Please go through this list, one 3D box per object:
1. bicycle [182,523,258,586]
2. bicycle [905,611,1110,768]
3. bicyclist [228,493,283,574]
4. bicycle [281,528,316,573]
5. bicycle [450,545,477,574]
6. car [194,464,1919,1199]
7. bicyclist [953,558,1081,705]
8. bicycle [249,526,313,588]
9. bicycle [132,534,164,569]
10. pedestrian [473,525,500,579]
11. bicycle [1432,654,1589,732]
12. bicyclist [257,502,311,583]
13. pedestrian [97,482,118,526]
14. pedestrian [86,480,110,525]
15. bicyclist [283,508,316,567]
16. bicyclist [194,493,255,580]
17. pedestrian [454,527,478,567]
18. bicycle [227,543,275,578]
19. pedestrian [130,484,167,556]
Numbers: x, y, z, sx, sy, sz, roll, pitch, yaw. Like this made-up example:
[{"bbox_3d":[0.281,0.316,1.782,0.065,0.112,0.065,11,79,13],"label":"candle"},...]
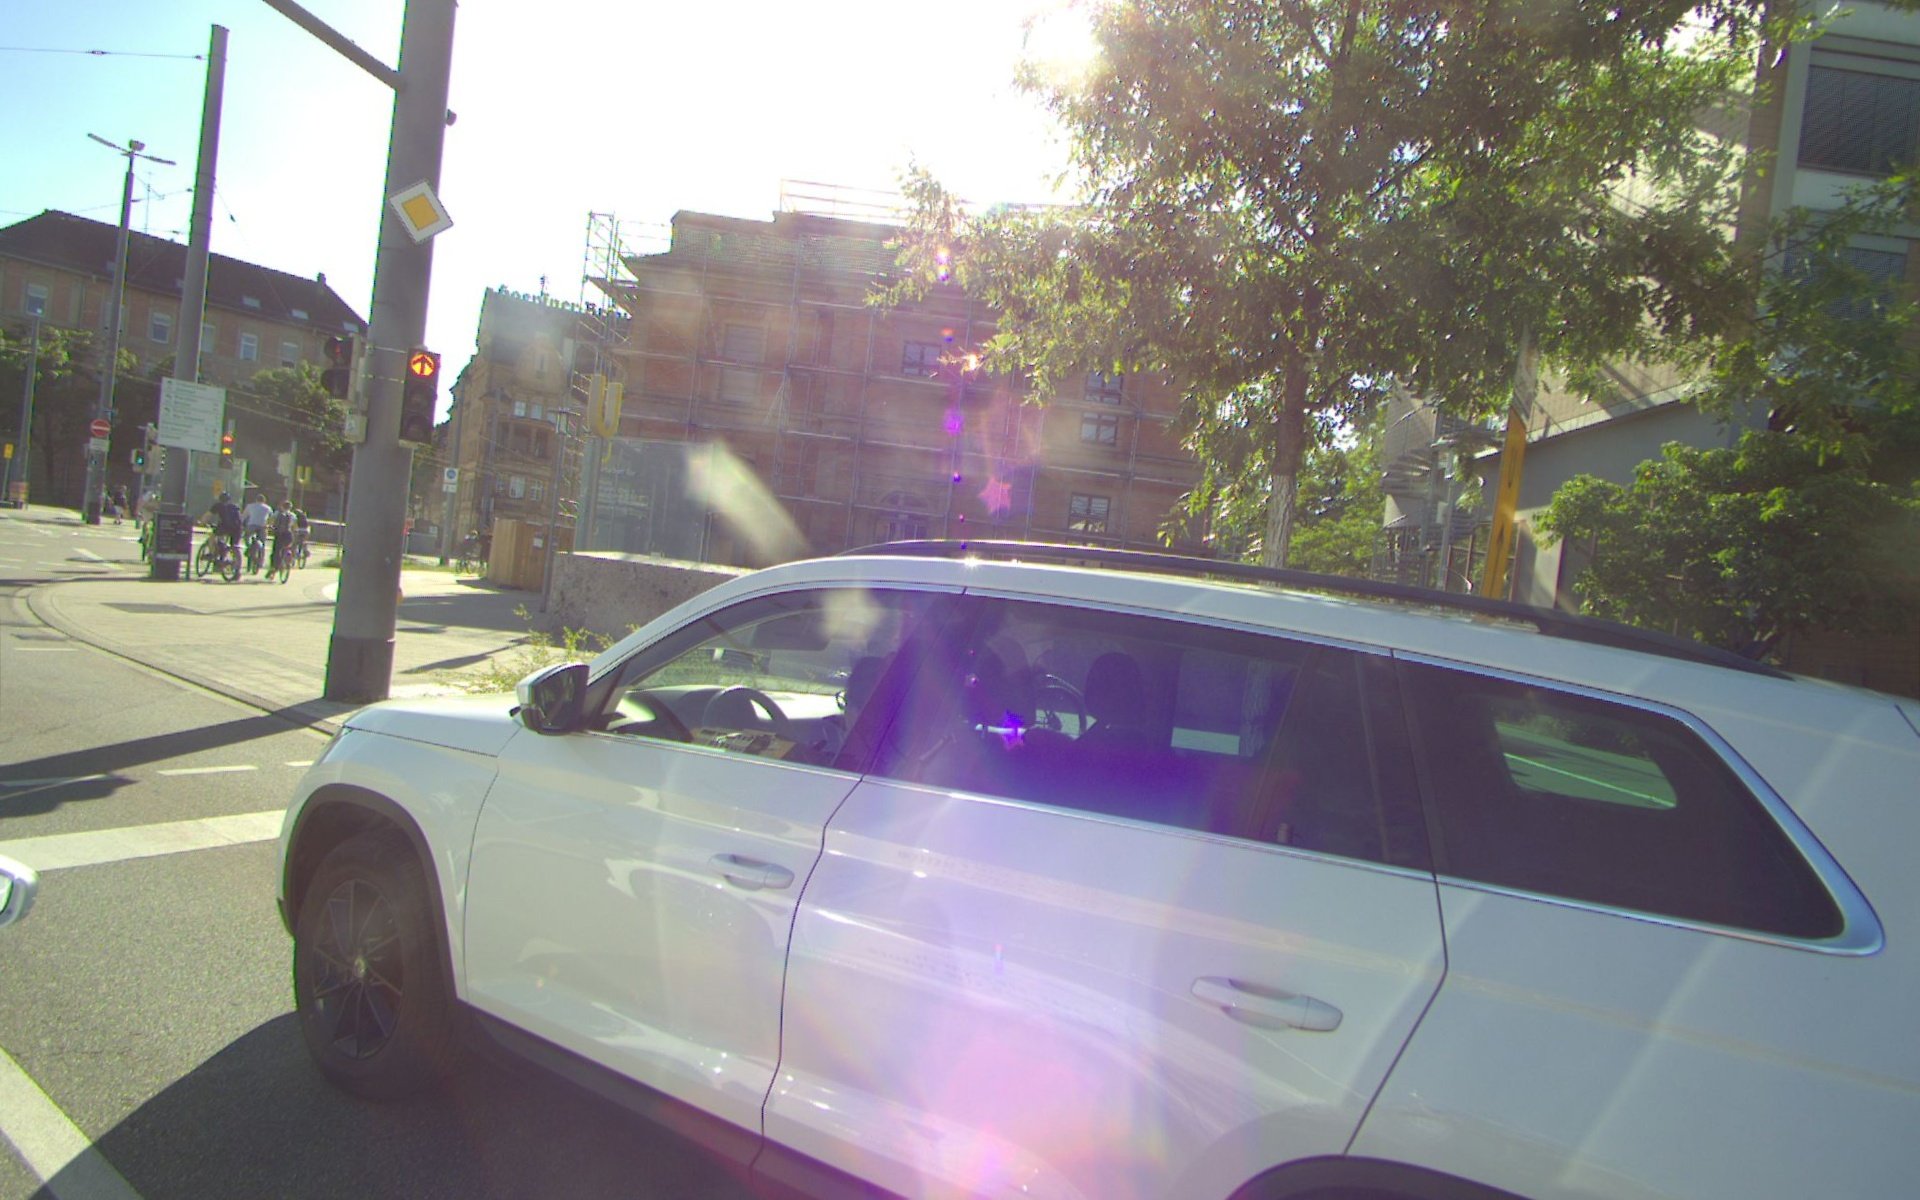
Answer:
[{"bbox_3d":[-15.239,-0.952,20.704,1.821,1.128,0.625,6,2,34],"label":"bicycle"},{"bbox_3d":[0.446,0.829,9.903,1.804,1.234,0.690,7,3,32],"label":"bicycle"},{"bbox_3d":[-16.627,-1.569,23.738,0.910,1.802,0.746,8,2,39],"label":"bicyclist"},{"bbox_3d":[-18.759,-1.419,28.528,0.569,1.139,1.721,6,1,-39],"label":"bicycle"},{"bbox_3d":[-18.828,-1.540,38.174,0.509,1.058,1.762,5,2,-14],"label":"bicycle"},{"bbox_3d":[0.011,0.698,2.680,4.224,1.662,1.697,7,0,30],"label":"car"},{"bbox_3d":[0.561,0.293,9.850,0.892,1.296,0.720,7,3,32],"label":"bicyclist"},{"bbox_3d":[-14.560,-0.933,21.557,1.858,1.179,0.683,7,3,43],"label":"bicycle"},{"bbox_3d":[-18.878,-1.135,23.384,0.534,0.664,1.706,4,2,-40],"label":"bicycle"},{"bbox_3d":[-17.467,-1.776,37.141,0.692,1.904,0.716,6,1,-25],"label":"pedestrian"},{"bbox_3d":[13.078,2.198,23.995,3.079,1.395,0.798,7,1,8],"label":"bicycle"},{"bbox_3d":[-14.419,-1.231,21.454,0.964,1.620,0.683,7,3,42],"label":"bicyclist"},{"bbox_3d":[-40.576,-4.563,47.874,0.443,2.039,0.462,7,2,14],"label":"pedestrian"},{"bbox_3d":[-41.083,-4.661,47.930,0.443,2.039,0.574,7,1,14],"label":"pedestrian"},{"bbox_3d":[-18.779,-1.783,28.589,0.569,1.588,0.936,5,2,-40],"label":"bicyclist"},{"bbox_3d":[-15.064,-1.306,20.595,0.979,1.659,0.625,7,2,34],"label":"bicyclist"},{"bbox_3d":[-18.731,-2.005,38.156,0.509,1.421,0.958,5,2,-14],"label":"pedestrian"},{"bbox_3d":[-16.695,-0.929,23.685,1.446,0.664,0.536,7,2,39],"label":"bicycle"},{"bbox_3d":[-18.826,-1.859,23.334,0.546,1.582,0.848,6,1,-40],"label":"pedestrian"}]
